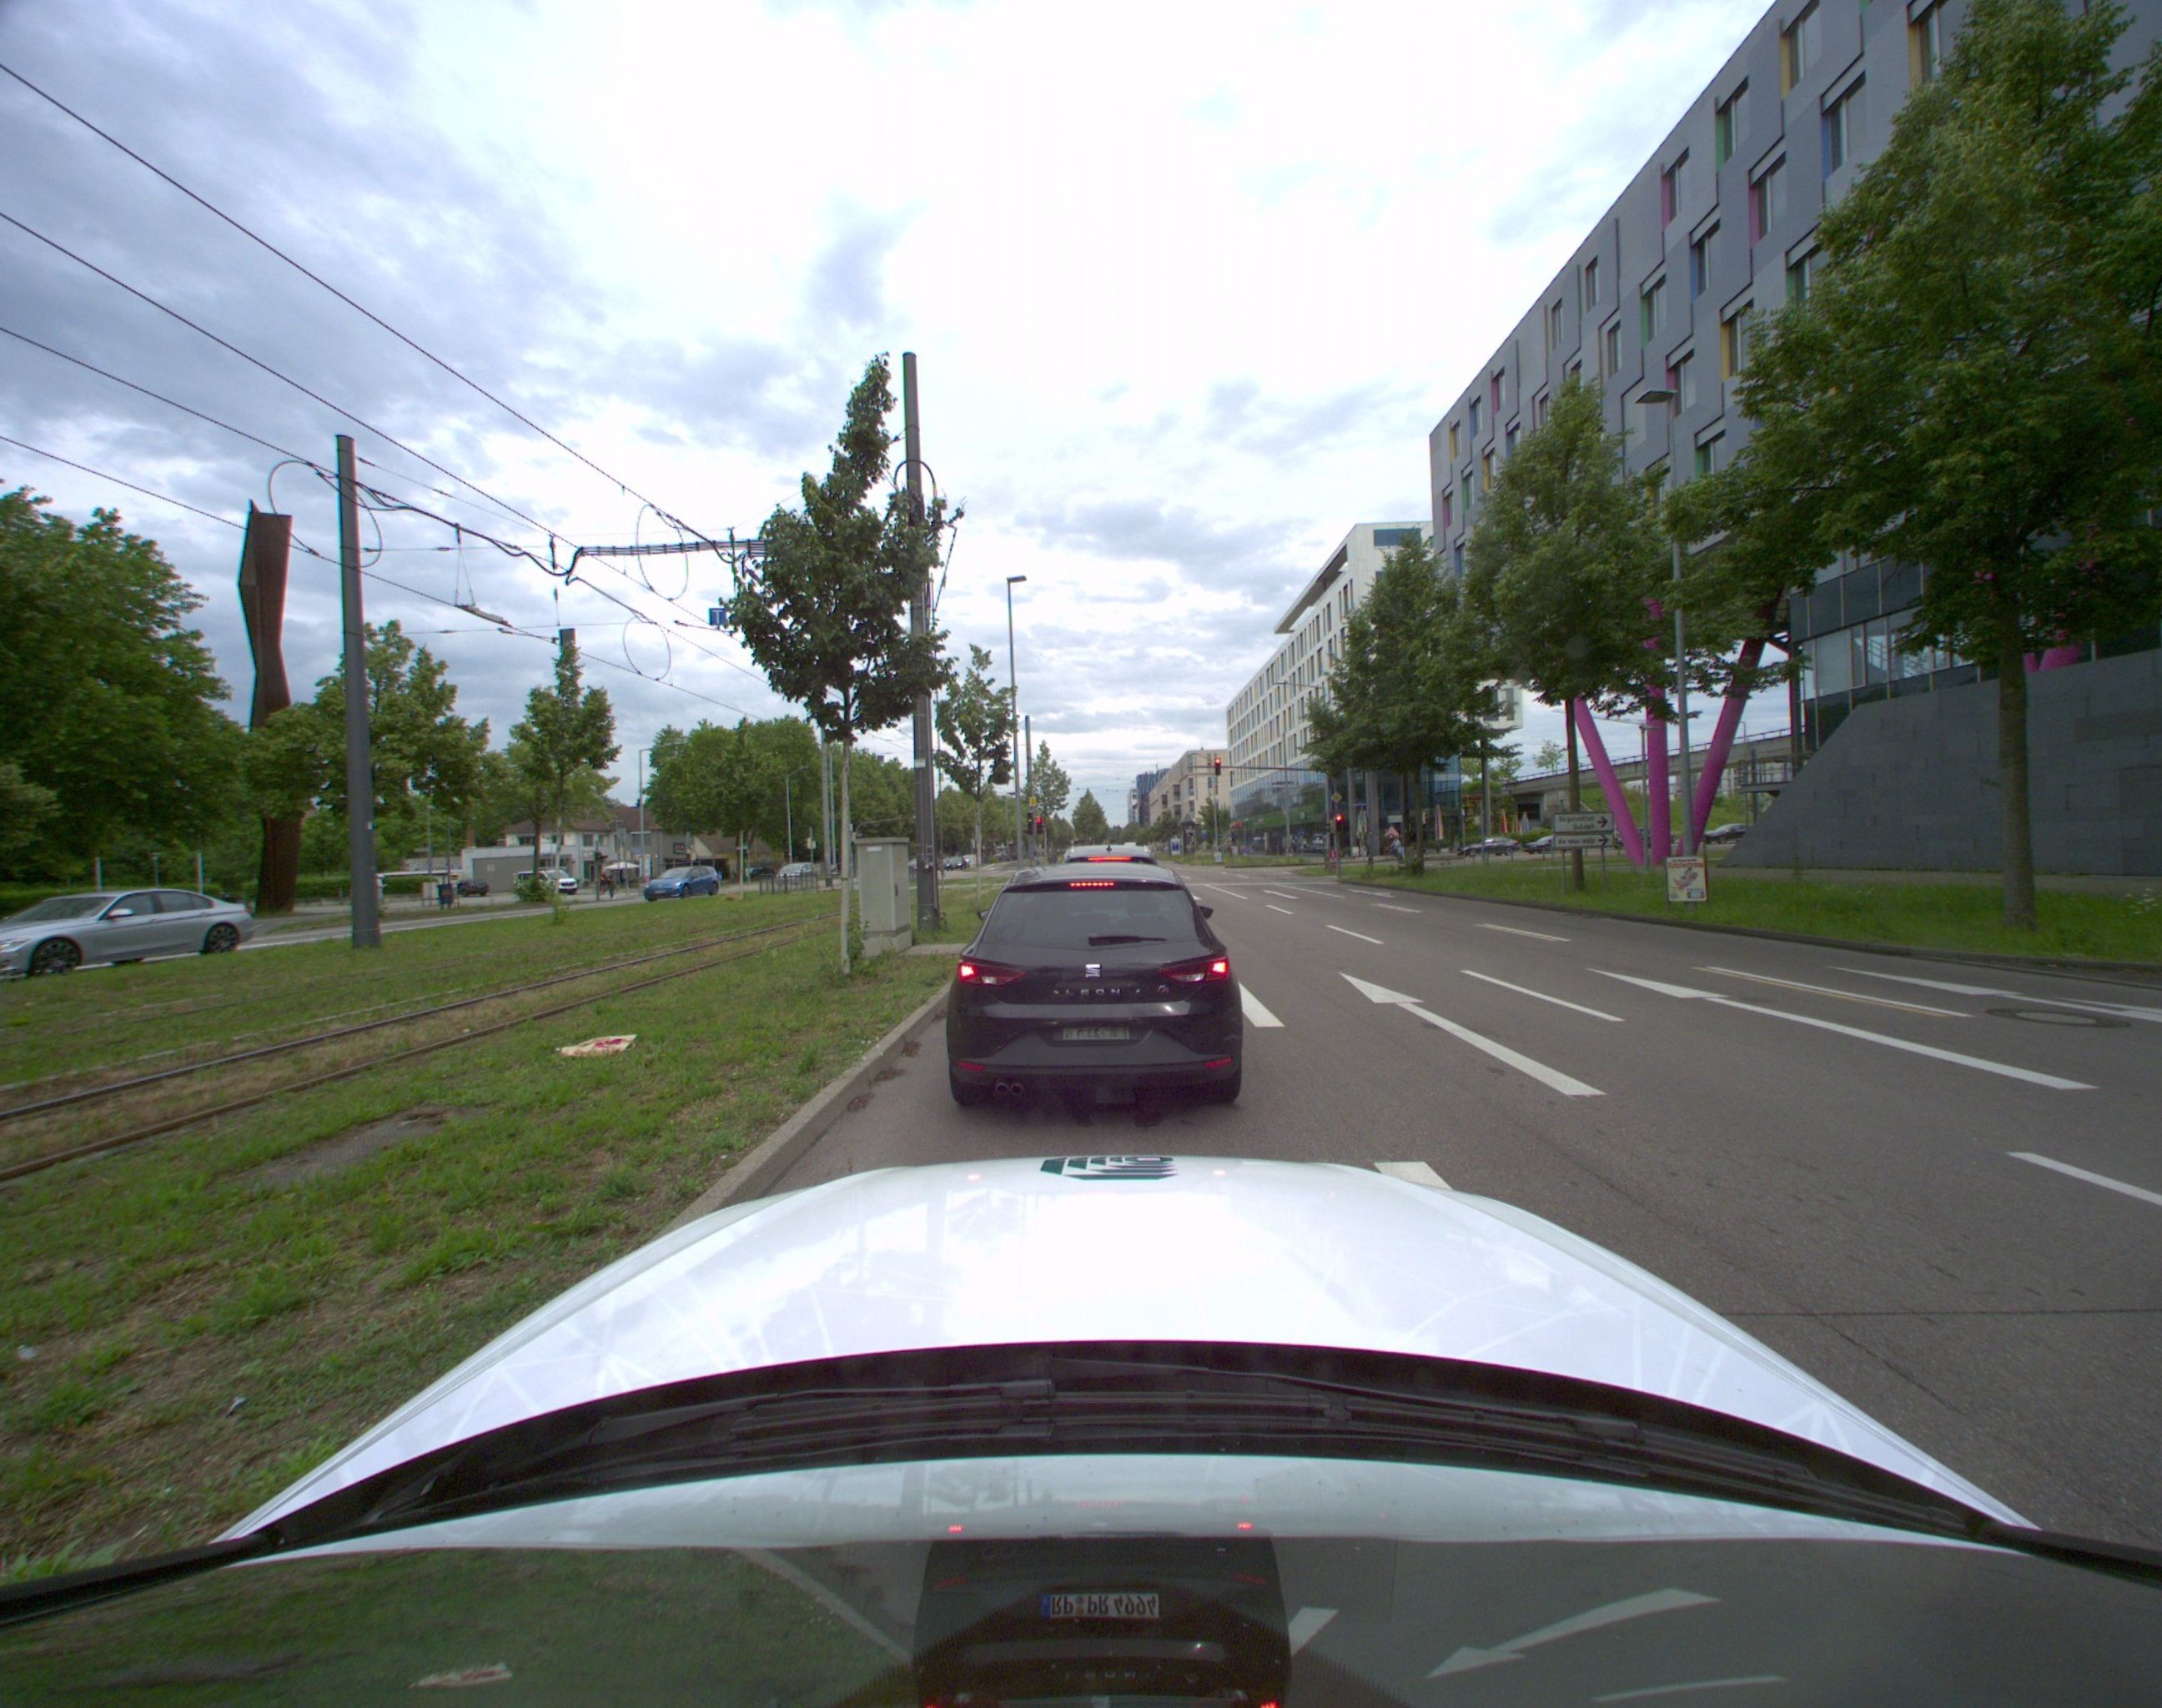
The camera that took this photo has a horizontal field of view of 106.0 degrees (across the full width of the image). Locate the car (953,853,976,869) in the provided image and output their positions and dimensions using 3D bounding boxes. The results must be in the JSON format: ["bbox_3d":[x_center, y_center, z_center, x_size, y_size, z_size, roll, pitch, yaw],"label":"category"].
[{"bbox_3d":[-13.851,0.807,97.240,1.987,1.750,4.201,-2,0,1],"label":"car"}]

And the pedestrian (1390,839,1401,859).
[{"bbox_3d":[25.605,-0.377,66.346,0.612,1.604,0.619,-2,0,4],"label":"pedestrian"}]

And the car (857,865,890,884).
[{"bbox_3d":[-20.227,1.974,79.546,1.789,1.570,4.331,-2,0,3],"label":"car"}]

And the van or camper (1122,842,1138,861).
[{"bbox_3d":[6.775,-0.358,112.516,2.101,2.355,4.927,-2,2,2],"label":"van or camper"}]

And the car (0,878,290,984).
[{"bbox_3d":[-17.769,1.320,14.953,1.724,1.445,4.917,-4,1,-3],"label":"car"}]

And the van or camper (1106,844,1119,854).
[{"bbox_3d":[5.272,-0.873,136.635,1.986,1.615,4.792,-2,1,2],"label":"van or camper"}]

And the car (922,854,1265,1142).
[{"bbox_3d":[0.103,0.739,6.172,1.737,1.417,4.001,-1,0,1],"label":"car"}]

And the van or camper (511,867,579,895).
[{"bbox_3d":[-41.507,2.087,63.007,5.212,2.013,2.481,-2,0,34],"label":"van or camper"}]

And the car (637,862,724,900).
[{"bbox_3d":[-19.116,1.232,39.126,1.959,1.588,4.684,-1,1,-3],"label":"car"}]

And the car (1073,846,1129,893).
[{"bbox_3d":[0.848,0.557,31.962,1.985,1.681,4.005,-1,1,4],"label":"car"}]

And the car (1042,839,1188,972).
[{"bbox_3d":[0.500,0.641,12.353,1.796,1.624,4.002,-2,0,2],"label":"car"}]

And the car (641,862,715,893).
[{"bbox_3d":[-21.867,1.240,44.400,1.790,1.571,4.578,0,0,0],"label":"car"}]

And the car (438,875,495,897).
[{"bbox_3d":[-59.485,3.104,78.831,3.969,1.848,2.002,-2,0,4],"label":"car"}]

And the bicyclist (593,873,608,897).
[{"bbox_3d":[-35.262,2.290,59.759,0.854,1.721,0.715,-2,0,-25],"label":"bicyclist"}]

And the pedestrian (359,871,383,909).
[{"bbox_3d":[-39.292,1.988,45.080,0.910,2.013,0.942,-2,0,-40],"label":"pedestrian"}]

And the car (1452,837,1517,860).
[{"bbox_3d":[31.862,-0.450,64.402,4.233,1.615,1.759,-2,0,3],"label":"car"}]

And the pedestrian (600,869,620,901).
[{"bbox_3d":[-27.712,1.808,47.928,0.779,1.832,0.771,-2,0,-16],"label":"pedestrian"}]

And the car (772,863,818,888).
[{"bbox_3d":[-21.085,1.531,60.267,1.715,1.643,4.674,-2,0,0],"label":"car"}]

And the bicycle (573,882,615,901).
[{"bbox_3d":[-35.624,2.711,59.595,2.520,1.202,0.734,-2,0,-25],"label":"bicycle"}]

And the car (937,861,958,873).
[{"bbox_3d":[-16.500,1.613,100.675,1.795,1.377,4.058,-2,0,1],"label":"car"}]

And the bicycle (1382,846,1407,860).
[{"bbox_3d":[25.551,-0.109,66.355,1.784,1.085,0.618,-2,0,3],"label":"bicycle"}]

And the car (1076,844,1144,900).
[{"bbox_3d":[1.032,0.517,26.716,1.984,1.681,4.006,-1,1,5],"label":"car"}]
